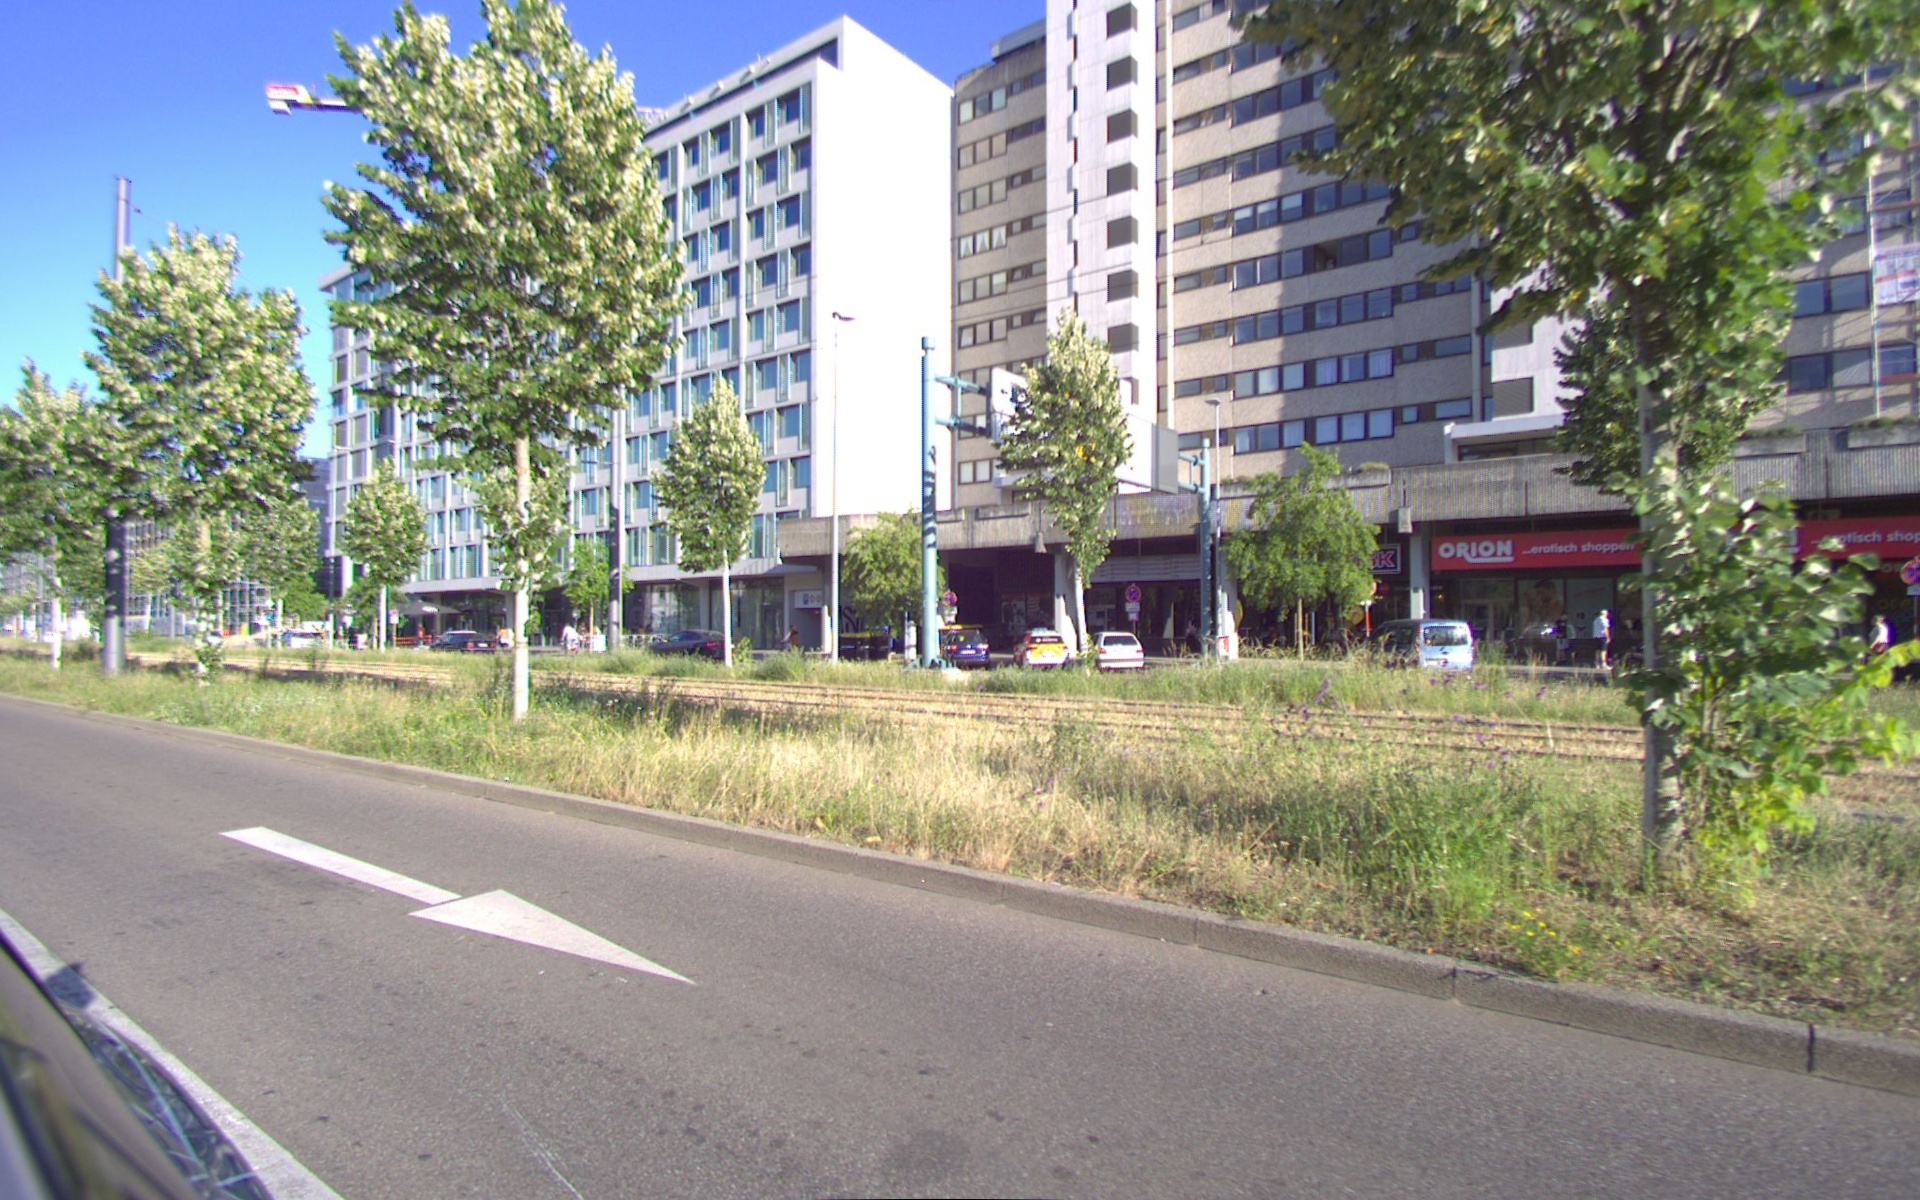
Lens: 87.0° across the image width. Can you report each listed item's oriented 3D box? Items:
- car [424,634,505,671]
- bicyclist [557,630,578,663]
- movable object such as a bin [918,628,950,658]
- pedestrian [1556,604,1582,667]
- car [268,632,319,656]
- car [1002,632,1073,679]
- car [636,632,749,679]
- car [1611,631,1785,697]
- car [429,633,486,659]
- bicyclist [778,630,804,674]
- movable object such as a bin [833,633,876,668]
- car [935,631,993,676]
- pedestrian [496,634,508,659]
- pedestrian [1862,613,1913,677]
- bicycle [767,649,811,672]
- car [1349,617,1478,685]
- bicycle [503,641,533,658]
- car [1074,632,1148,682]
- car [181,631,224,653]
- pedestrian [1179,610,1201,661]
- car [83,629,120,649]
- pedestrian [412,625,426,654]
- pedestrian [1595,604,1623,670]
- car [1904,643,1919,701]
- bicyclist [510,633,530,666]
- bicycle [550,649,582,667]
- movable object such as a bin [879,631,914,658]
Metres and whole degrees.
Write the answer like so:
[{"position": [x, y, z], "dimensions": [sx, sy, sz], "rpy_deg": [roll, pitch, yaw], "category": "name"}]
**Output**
[{"position": [-25.014, 2.606, 51.031], "dimensions": [4.482, 1.715, 1.852], "rpy_deg": [-1, 0, 38], "category": "car"}, {"position": [-19.779, 2.345, 50.989], "dimensions": [0.917, 1.669, 0.533], "rpy_deg": [-2, -2, 36], "category": "bicyclist"}, {"position": [-1.232, 2.023, 47.999], "dimensions": [1.088, 1.382, 1.108], "rpy_deg": [-2, -2, 36], "category": "movable object such as a bin"}, {"position": [19.984, 1.158, 33.202], "dimensions": [0.653, 2.029, 0.542], "rpy_deg": [-2, -2, 37], "category": "pedestrian"}, {"position": [-43.426, 2.850, 65.897], "dimensions": [3.874, 1.388, 1.594], "rpy_deg": [-1, 0, 38], "category": "car"}, {"position": [2.776, 1.989, 36.943], "dimensions": [1.761, 1.455, 3.808], "rpy_deg": [-1, 0, -8], "category": "car"}, {"position": [-10.470, 2.119, 39.492], "dimensions": [4.632, 1.600, 1.852], "rpy_deg": [-1, 0, 38], "category": "car"}, {"position": [18.593, 1.553, 25.679], "dimensions": [1.596, 1.412, 3.471], "rpy_deg": [-1, 0, -6], "category": "car"}, {"position": [-31.106, 2.819, 62.591], "dimensions": [3.384, 1.477, 1.852], "rpy_deg": [-1, 0, 38], "category": "car"}, {"position": [-6.823, 2.077, 40.953], "dimensions": [0.917, 1.758, 0.552], "rpy_deg": [-2, -2, 36], "category": "bicyclist"}, {"position": [-4.326, 2.046, 41.450], "dimensions": [1.169, 1.382, 1.373], "rpy_deg": [-2, -2, 36], "category": "movable object such as a bin"}, {"position": [0.099, 2.022, 39.161], "dimensions": [1.595, 1.455, 4.555], "rpy_deg": [-1, 0, -8], "category": "car"}, {"position": [-29.832, 3.038, 65.878], "dimensions": [0.596, 1.648, 0.473], "rpy_deg": [-2, -3, 38], "category": "pedestrian"}, {"position": [24.513, 1.170, 26.756], "dimensions": [0.881, 1.652, 0.767], "rpy_deg": [-2, -2, 37], "category": "pedestrian"}, {"position": [-6.933, 2.450, 41.023], "dimensions": [2.098, 0.869, 0.432], "rpy_deg": [-2, -2, 36], "category": "bicycle"}, {"position": [13.004, 1.410, 29.304], "dimensions": [1.597, 1.703, 4.200], "rpy_deg": [-1, 0, -3], "category": "car"}, {"position": [-22.719, 2.547, 51.990], "dimensions": [2.098, 0.869, 0.432], "rpy_deg": [-2, -2, 36], "category": "bicycle"}, {"position": [5.165, 1.928, 35.161], "dimensions": [1.596, 1.455, 3.798], "rpy_deg": [-1, 0, -6], "category": "car"}, {"position": [-59.819, 3.313, 79.920], "dimensions": [3.477, 1.603, 1.852], "rpy_deg": [-1, 0, 38], "category": "car"}, {"position": [9.256, 1.429, 40.746], "dimensions": [0.653, 2.029, 0.542], "rpy_deg": [-2, -2, 37], "category": "pedestrian"}, {"position": [-78.601, 3.561, 92.687], "dimensions": [3.787, 1.765, 1.852], "rpy_deg": [-1, 0, 38], "category": "car"}, {"position": [-39.081, 2.839, 73.060], "dimensions": [0.725, 2.029, 0.614], "rpy_deg": [-2, -2, 38], "category": "pedestrian"}, {"position": [20.192, 1.140, 31.496], "dimensions": [0.653, 2.029, 0.542], "rpy_deg": [-2, -2, 37], "category": "pedestrian"}, {"position": [22.328, 1.597, 21.209], "dimensions": [1.596, 1.283, 3.471], "rpy_deg": [-1, 0, -6], "category": "car"}, {"position": [-22.570, 2.516, 51.862], "dimensions": [0.917, 1.669, 0.533], "rpy_deg": [-2, -2, 36], "category": "bicyclist"}, {"position": [-19.895, 2.915, 51.104], "dimensions": [2.098, 0.869, 0.432], "rpy_deg": [-2, -2, 36], "category": "bicycle"}, {"position": [-3.213, 2.230, 51.306], "dimensions": [1.231, 1.344, 1.373], "rpy_deg": [-2, -2, 36], "category": "movable object such as a bin"}]
